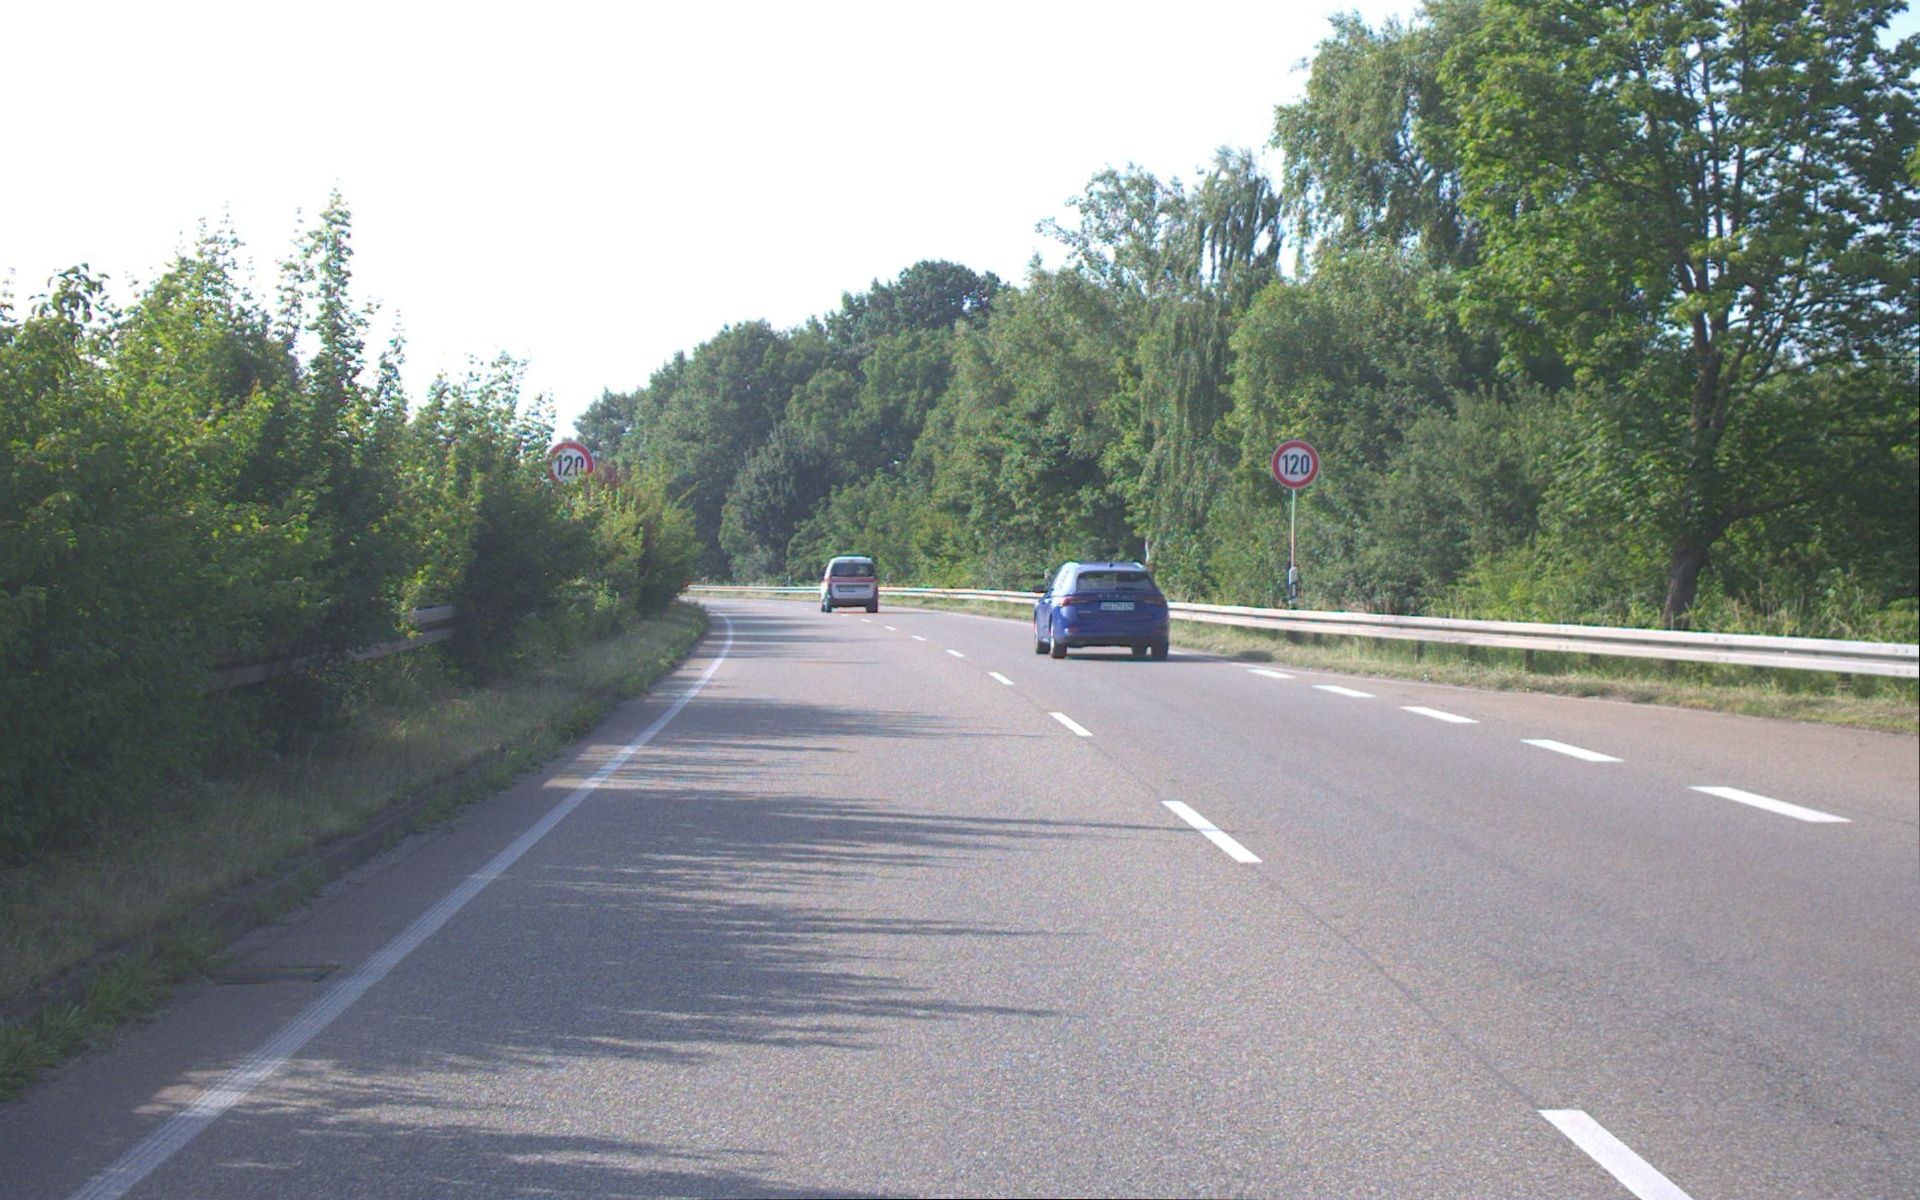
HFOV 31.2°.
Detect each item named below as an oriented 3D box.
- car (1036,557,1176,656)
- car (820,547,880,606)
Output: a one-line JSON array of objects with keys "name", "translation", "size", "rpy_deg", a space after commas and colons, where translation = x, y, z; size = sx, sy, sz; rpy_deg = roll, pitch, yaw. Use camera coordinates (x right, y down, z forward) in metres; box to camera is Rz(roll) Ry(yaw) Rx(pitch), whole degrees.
[{"name": "car", "translation": [2.183, 0.088, 52.459], "size": [1.779, 1.446, 4.000], "rpy_deg": [0, 0, -3]}, {"name": "car", "translation": [-3.614, -0.770, 112.108], "size": [1.765, 1.875, 4.001], "rpy_deg": [0, 1, -4]}]
